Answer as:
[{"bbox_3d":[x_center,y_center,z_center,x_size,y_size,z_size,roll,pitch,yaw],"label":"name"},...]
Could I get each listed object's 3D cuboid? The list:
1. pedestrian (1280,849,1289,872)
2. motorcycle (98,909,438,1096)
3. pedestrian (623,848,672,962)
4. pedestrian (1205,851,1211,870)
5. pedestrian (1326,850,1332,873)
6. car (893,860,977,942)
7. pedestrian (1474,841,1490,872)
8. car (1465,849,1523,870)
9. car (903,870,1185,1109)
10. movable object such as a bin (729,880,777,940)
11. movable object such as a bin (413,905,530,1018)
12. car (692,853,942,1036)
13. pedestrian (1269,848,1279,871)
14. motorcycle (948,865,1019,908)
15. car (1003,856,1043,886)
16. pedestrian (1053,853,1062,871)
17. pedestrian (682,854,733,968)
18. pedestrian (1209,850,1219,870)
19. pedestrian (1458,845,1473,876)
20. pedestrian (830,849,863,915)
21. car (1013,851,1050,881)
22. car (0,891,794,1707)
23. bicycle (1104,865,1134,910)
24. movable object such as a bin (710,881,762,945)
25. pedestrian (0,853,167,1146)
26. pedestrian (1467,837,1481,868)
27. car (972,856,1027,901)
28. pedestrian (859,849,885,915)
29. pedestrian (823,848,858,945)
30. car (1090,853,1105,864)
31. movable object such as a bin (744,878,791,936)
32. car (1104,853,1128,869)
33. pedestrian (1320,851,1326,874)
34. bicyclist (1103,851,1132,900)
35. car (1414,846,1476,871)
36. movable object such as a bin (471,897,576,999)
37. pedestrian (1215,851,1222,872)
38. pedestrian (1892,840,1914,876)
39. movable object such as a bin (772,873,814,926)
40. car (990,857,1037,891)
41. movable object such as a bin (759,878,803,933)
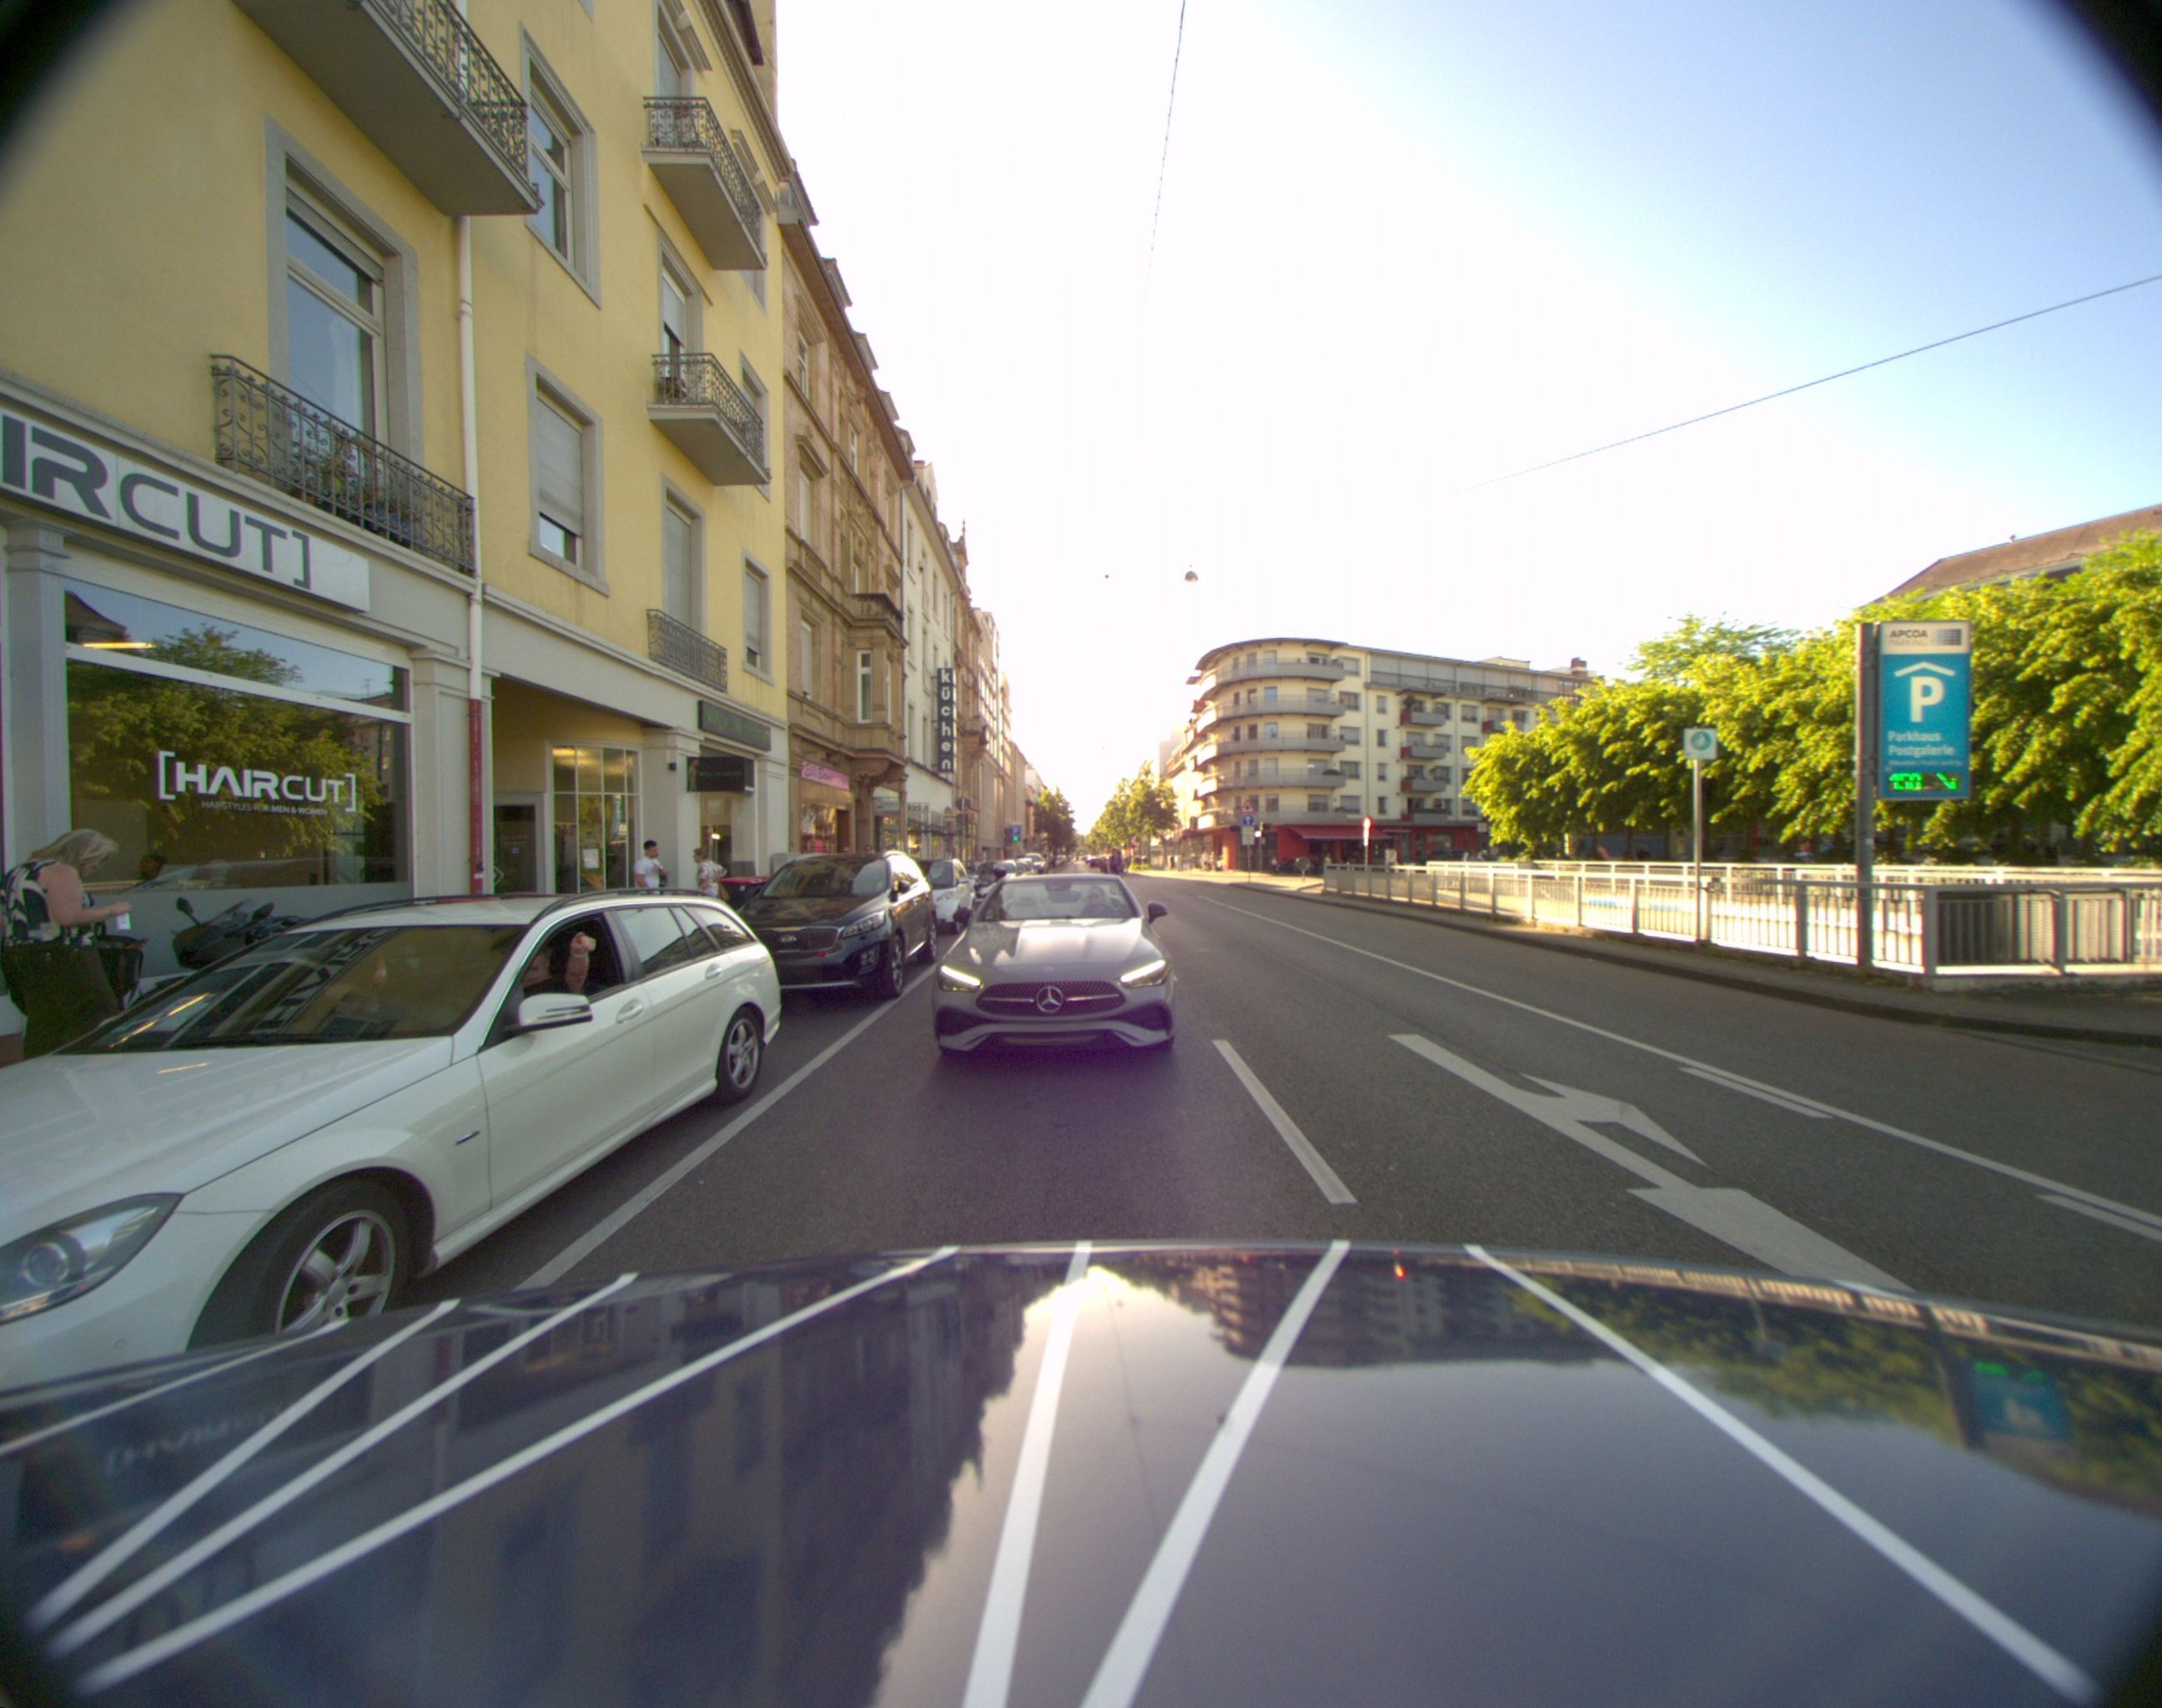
[{"bbox_3d":[15.454,0.471,57.703,0.575,1.698,0.642,-1,1,3],"label":"pedestrian"},{"bbox_3d":[-6.219,1.055,6.024,0.551,1.085,2.009,0,0,-1],"label":"motorcycle"},{"bbox_3d":[-6.450,0.739,11.308,0.337,1.651,0.525,1,1,24],"label":"pedestrian"},{"bbox_3d":[10.278,0.503,61.460,0.376,1.521,0.516,-2,1,-3],"label":"pedestrian"},{"bbox_3d":[18.014,0.573,55.209,0.270,1.658,0.362,-1,1,32],"label":"pedestrian"},{"bbox_3d":[-3.023,0.920,16.124,1.275,1.509,2.794,-1,0,-2],"label":"car"},{"bbox_3d":[23.532,0.153,44.574,0.602,1.782,0.581,-3,1,-40],"label":"pedestrian"},{"bbox_3d":[34.270,0.411,63.051,4.300,1.611,1.951,-2,1,-24],"label":"car"},{"bbox_3d":[-0.235,0.955,7.257,1.848,1.440,4.373,-1,0,0],"label":"car"},{"bbox_3d":[-6.085,1.029,14.123,0.606,1.060,0.619,2,1,1],"label":"movable object such as a bin"},{"bbox_3d":[-6.123,1.059,7.661,0.661,1.035,0.619,2,1,3],"label":"movable object such as a bin"},{"bbox_3d":[-2.984,0.875,9.699,1.760,1.726,4.571,-1,0,-3],"label":"car"},{"bbox_3d":[14.769,0.429,58.228,0.575,1.698,0.642,-1,1,3],"label":"pedestrian"},{"bbox_3d":[-3.176,1.035,24.836,2.178,1.272,0.866,-2,1,-42],"label":"motorcycle"},{"bbox_3d":[-2.972,0.856,39.374,1.737,1.409,3.802,-1,0,0],"label":"car"},{"bbox_3d":[-2.112,0.685,68.591,0.774,1.606,0.696,-1,1,-3],"label":"pedestrian"},{"bbox_3d":[-5.589,0.820,11.363,0.594,1.651,0.450,0,1,-40],"label":"pedestrian"},{"bbox_3d":[10.730,0.475,61.452,0.570,1.612,0.793,-2,1,-3],"label":"pedestrian"},{"bbox_3d":[22.270,0.391,44.038,0.602,1.782,0.581,-3,2,-45],"label":"pedestrian"},{"bbox_3d":[-5.839,0.691,18.905,0.618,1.623,0.463,-1,1,2],"label":"pedestrian"},{"bbox_3d":[-2.972,0.687,46.003,1.895,1.680,4.049,-1,0,0],"label":"car"},{"bbox_3d":[-3.068,1.031,3.551,1.743,1.438,4.463,-1,0,0],"label":"car"},{"bbox_3d":[1.101,0.968,22.579,0.798,1.226,1.773,-1,0,1],"label":"bicycle"},{"bbox_3d":[-6.109,1.036,13.476,0.606,1.060,0.619,2,1,1],"label":"movable object such as a bin"},{"bbox_3d":[-6.070,0.810,4.476,0.698,1.623,0.532,0,1,-1],"label":"pedestrian"},{"bbox_3d":[22.859,-0.061,44.195,0.602,1.782,0.581,-3,2,-45],"label":"pedestrian"},{"bbox_3d":[-3.025,0.882,28.825,1.737,1.509,4.164,-1,0,-2],"label":"car"},{"bbox_3d":[-5.224,0.700,18.996,0.515,1.623,0.414,-1,1,-2],"label":"pedestrian"},{"bbox_3d":[-4.426,0.763,14.001,0.434,1.752,0.481,-2,1,1],"label":"pedestrian"},{"bbox_3d":[2.120,0.566,99.211,1.895,1.388,4.256,-1,0,0],"label":"car"},{"bbox_3d":[-6.073,1.023,14.737,0.606,1.060,0.619,2,1,1],"label":"movable object such as a bin"},{"bbox_3d":[3.137,0.631,68.562,1.806,1.388,3.926,-1,0,-1],"label":"car"},{"bbox_3d":[17.627,0.585,55.321,0.322,1.658,0.362,-1,1,32],"label":"pedestrian"},{"bbox_3d":[1.086,0.626,22.617,0.798,1.426,1.008,-1,1,1],"label":"bicyclist"},{"bbox_3d":[29.066,0.335,60.670,4.432,1.901,1.951,-2,1,-24],"label":"car"},{"bbox_3d":[-6.083,1.004,8.317,0.669,1.019,0.619,2,1,3],"label":"movable object such as a bin"},{"bbox_3d":[11.135,0.598,61.497,0.442,1.663,0.516,-2,1,-3],"label":"pedestrian"},{"bbox_3d":[42.282,0.201,39.071,0.602,1.782,0.581,-2,1,-20],"label":"pedestrian"},{"bbox_3d":[-6.054,0.939,15.999,0.606,1.060,0.619,2,1,1],"label":"movable object such as a bin"},{"bbox_3d":[-3.054,0.886,34.995,1.737,1.409,3.802,-1,0,0],"label":"car"},{"bbox_3d":[-6.061,1.029,15.371,0.606,1.060,0.619,2,1,1],"label":"movable object such as a bin"}]
